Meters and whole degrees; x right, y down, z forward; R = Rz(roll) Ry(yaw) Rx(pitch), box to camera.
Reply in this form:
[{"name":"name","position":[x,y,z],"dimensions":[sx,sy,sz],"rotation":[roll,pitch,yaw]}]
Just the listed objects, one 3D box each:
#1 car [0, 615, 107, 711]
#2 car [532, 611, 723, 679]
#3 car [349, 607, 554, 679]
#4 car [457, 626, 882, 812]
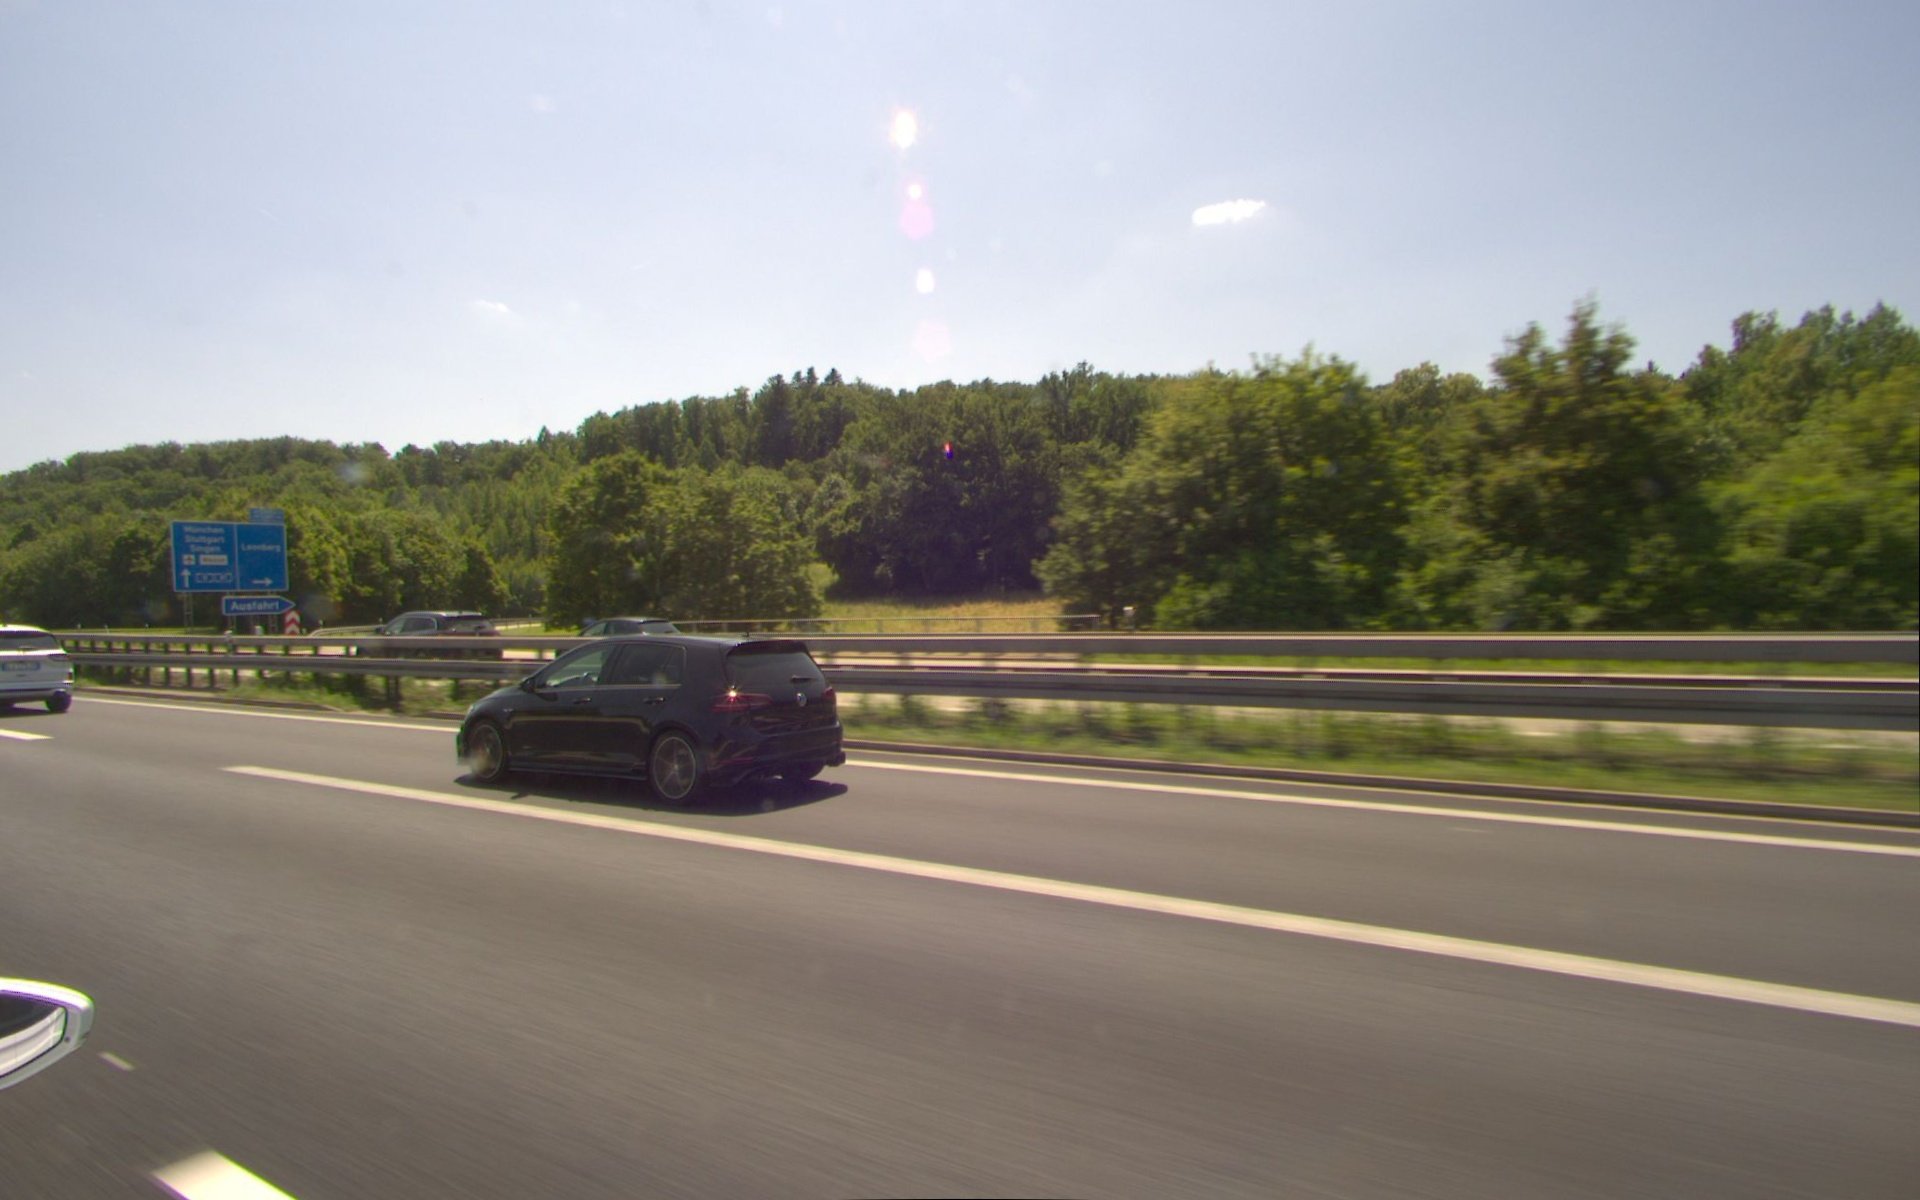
[{"name":"car","position":[-18.590,1.166,19.251],"dimensions":[4.401,1.683,1.991],"rotation":[-1,-1,30]},{"name":"car","position":[-9.014,1.184,27.049],"dimensions":[5.150,1.683,1.991],"rotation":[-1,-1,30]},{"name":"car","position":[-13.090,1.082,25.681],"dimensions":[5.542,1.683,1.991],"rotation":[-1,-1,30]},{"name":"car","position":[-2.859,0.992,9.649],"dimensions":[3.909,1.454,1.791],"rotation":[-1,-1,32]}]
